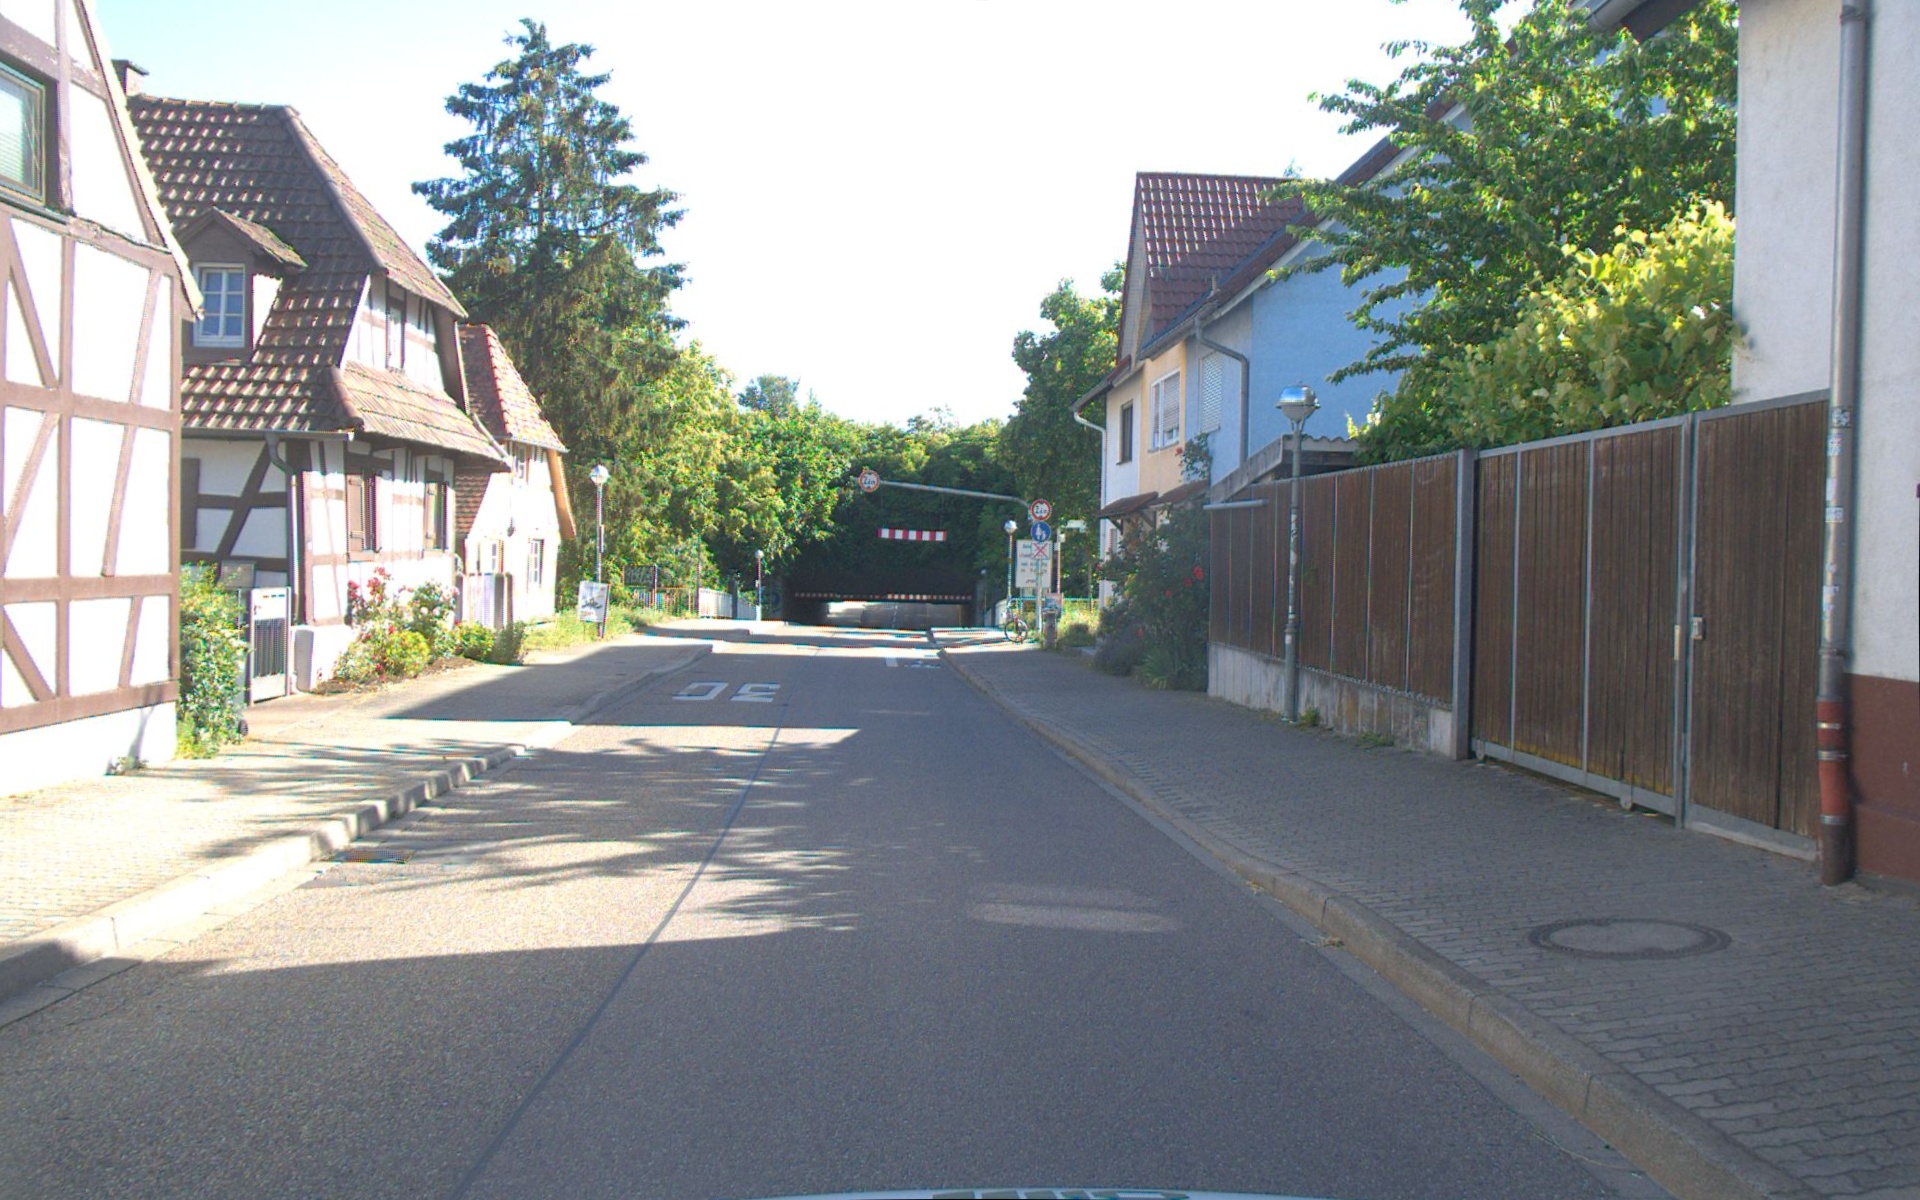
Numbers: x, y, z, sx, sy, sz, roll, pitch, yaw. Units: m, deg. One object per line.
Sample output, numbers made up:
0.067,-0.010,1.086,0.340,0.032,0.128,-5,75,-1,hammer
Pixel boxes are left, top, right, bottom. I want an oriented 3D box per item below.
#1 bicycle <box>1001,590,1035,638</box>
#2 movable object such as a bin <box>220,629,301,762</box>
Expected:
1.558,0.363,44.518,0.675,1.177,1.538,-5,2,-3,bicycle
-6.405,0.862,15.158,0.467,1.160,0.667,-1,0,-3,movable object such as a bin
